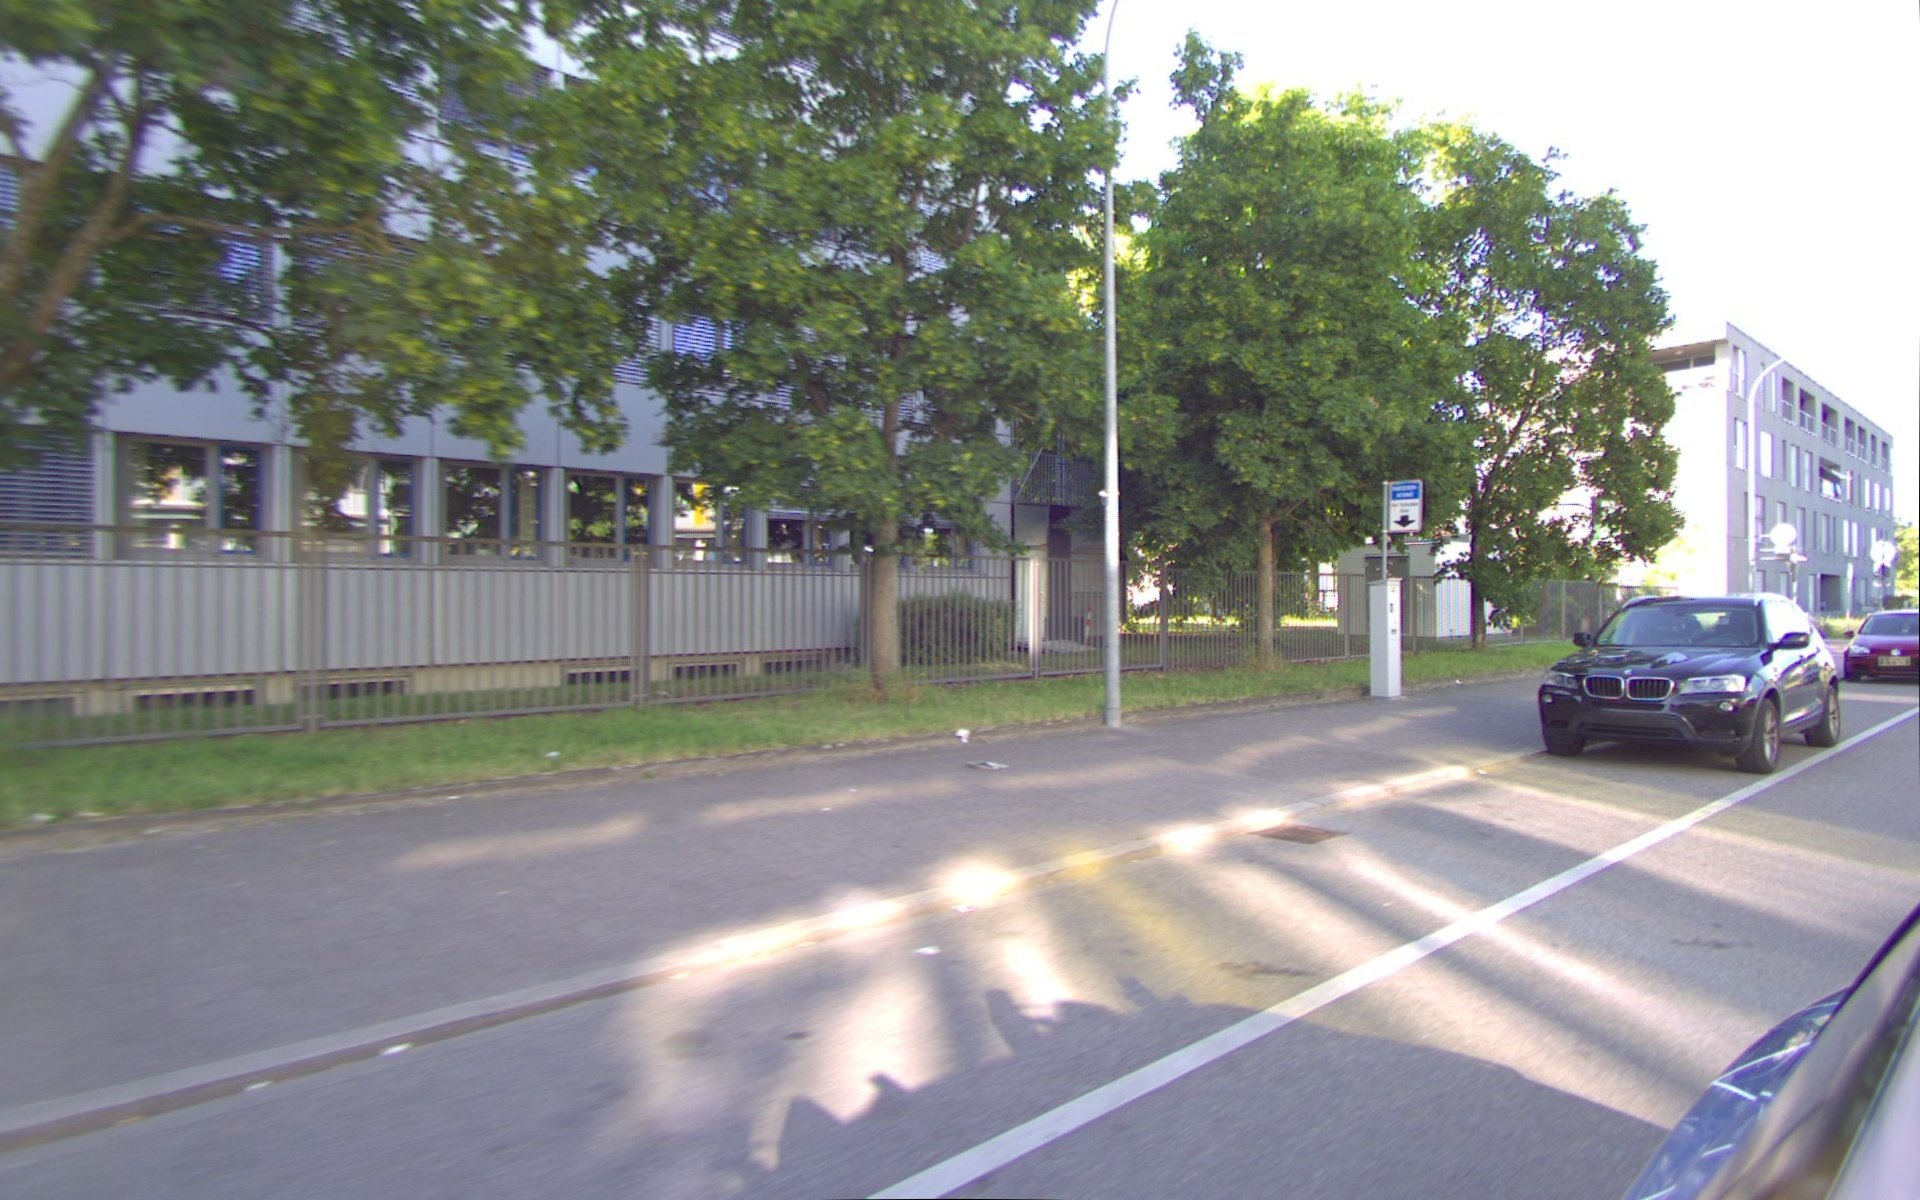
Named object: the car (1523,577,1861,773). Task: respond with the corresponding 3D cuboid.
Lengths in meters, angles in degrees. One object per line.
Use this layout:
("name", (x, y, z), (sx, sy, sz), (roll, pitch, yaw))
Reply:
("car", (7.789, 0.649, 10.622), (4.218, 1.646, 1.889), (0, -2, -40))

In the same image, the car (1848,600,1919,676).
("car", (20.113, 0.729, 21.052), (4.218, 1.462, 1.822), (0, -2, -40))
